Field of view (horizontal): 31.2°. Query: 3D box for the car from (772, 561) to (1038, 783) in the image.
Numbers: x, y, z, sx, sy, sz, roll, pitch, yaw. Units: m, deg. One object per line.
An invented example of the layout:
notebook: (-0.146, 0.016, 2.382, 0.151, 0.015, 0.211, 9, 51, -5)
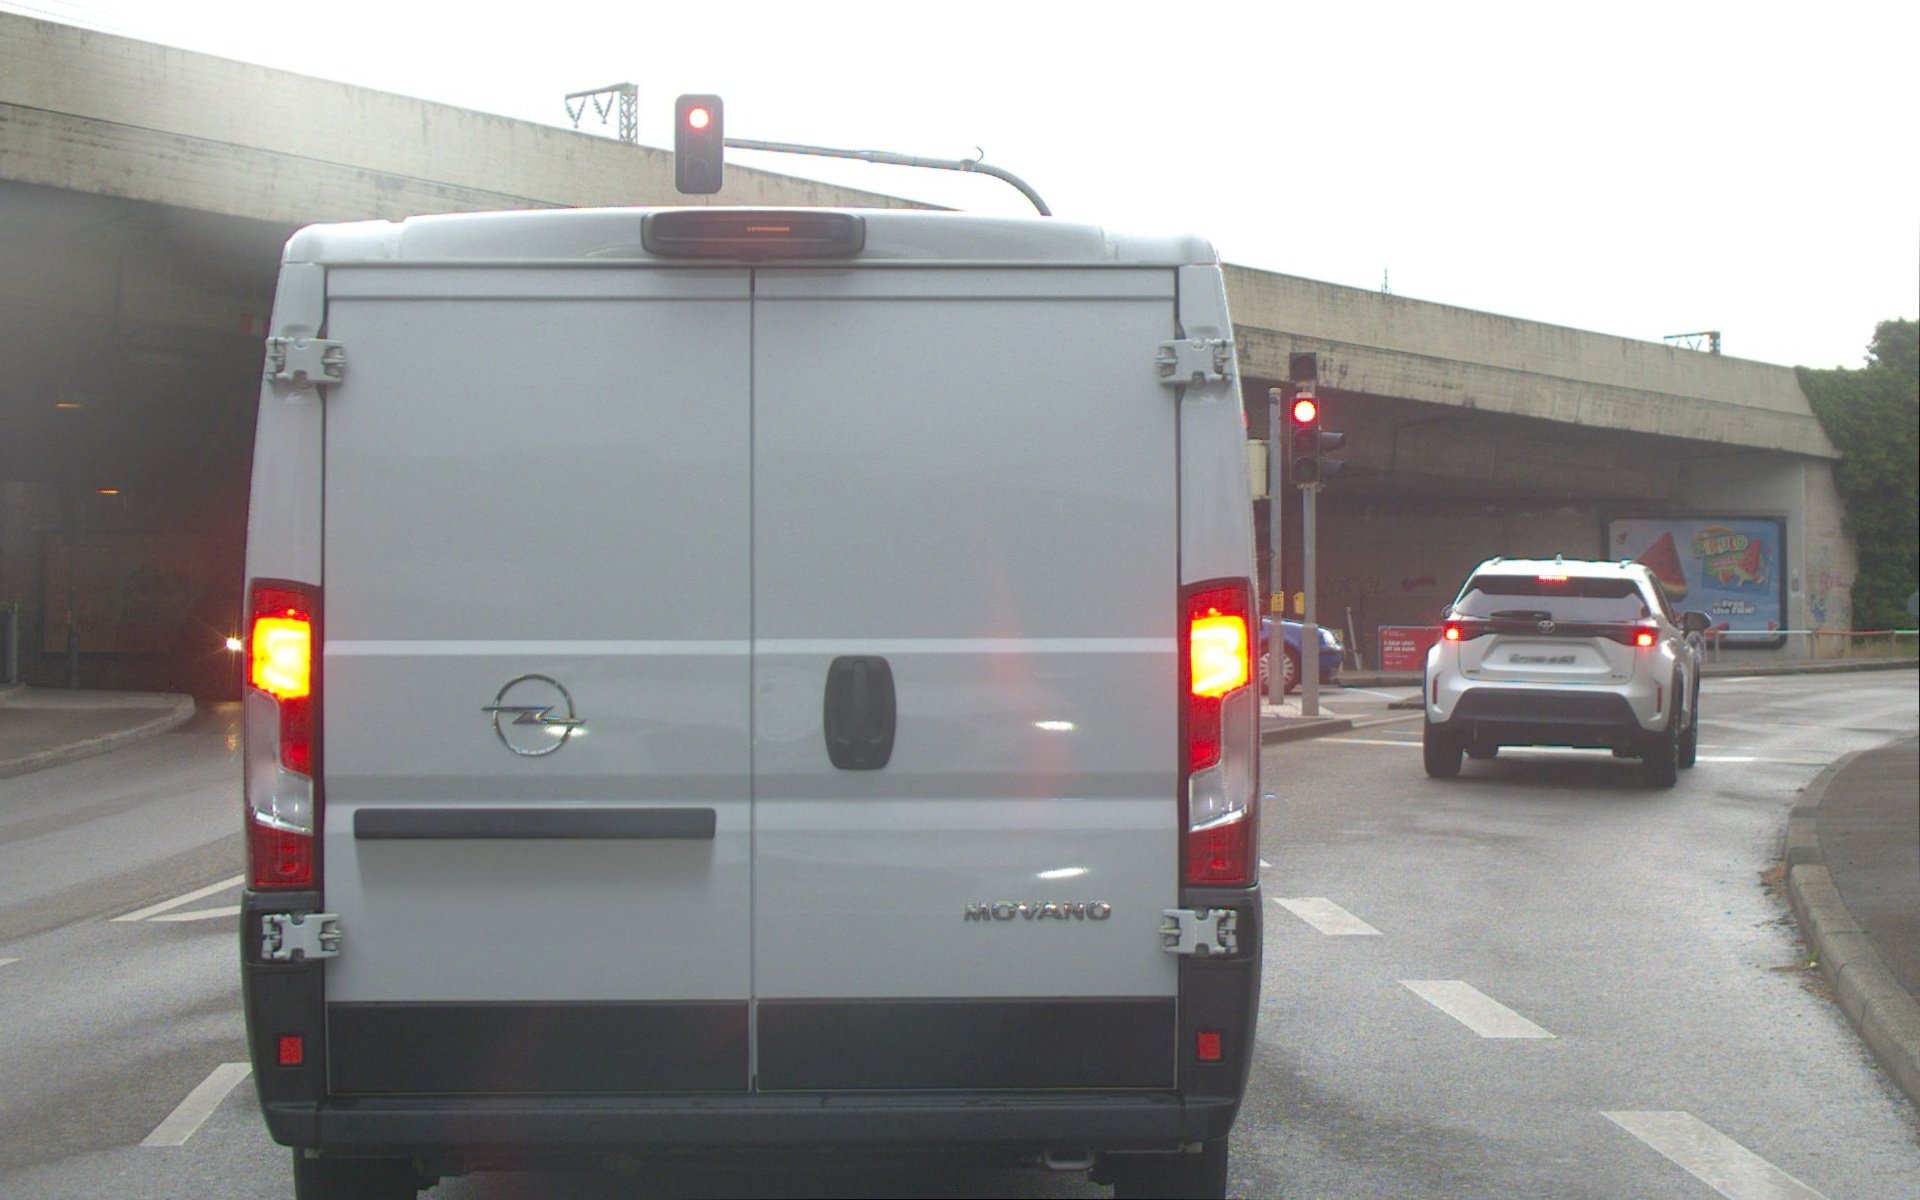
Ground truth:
car: (-0.383, 0.582, 28.727, 1.994, 1.723, 3.999, 0, -1, 2)

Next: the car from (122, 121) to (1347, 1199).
car: (-0.386, 0.277, 9.188, 2.305, 2.335, 5.282, 1, 0, 1)

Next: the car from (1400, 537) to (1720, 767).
car: (4.491, 0.375, 25.286, 1.995, 1.544, 3.997, 0, -1, 15)

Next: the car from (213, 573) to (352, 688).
car: (-9.923, 0.412, 50.573, 1.914, 1.621, 4.435, 0, 0, -10)

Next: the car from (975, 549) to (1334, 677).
car: (2.407, 0.169, 42.341, 3.991, 1.513, 1.998, 0, -1, 21)
